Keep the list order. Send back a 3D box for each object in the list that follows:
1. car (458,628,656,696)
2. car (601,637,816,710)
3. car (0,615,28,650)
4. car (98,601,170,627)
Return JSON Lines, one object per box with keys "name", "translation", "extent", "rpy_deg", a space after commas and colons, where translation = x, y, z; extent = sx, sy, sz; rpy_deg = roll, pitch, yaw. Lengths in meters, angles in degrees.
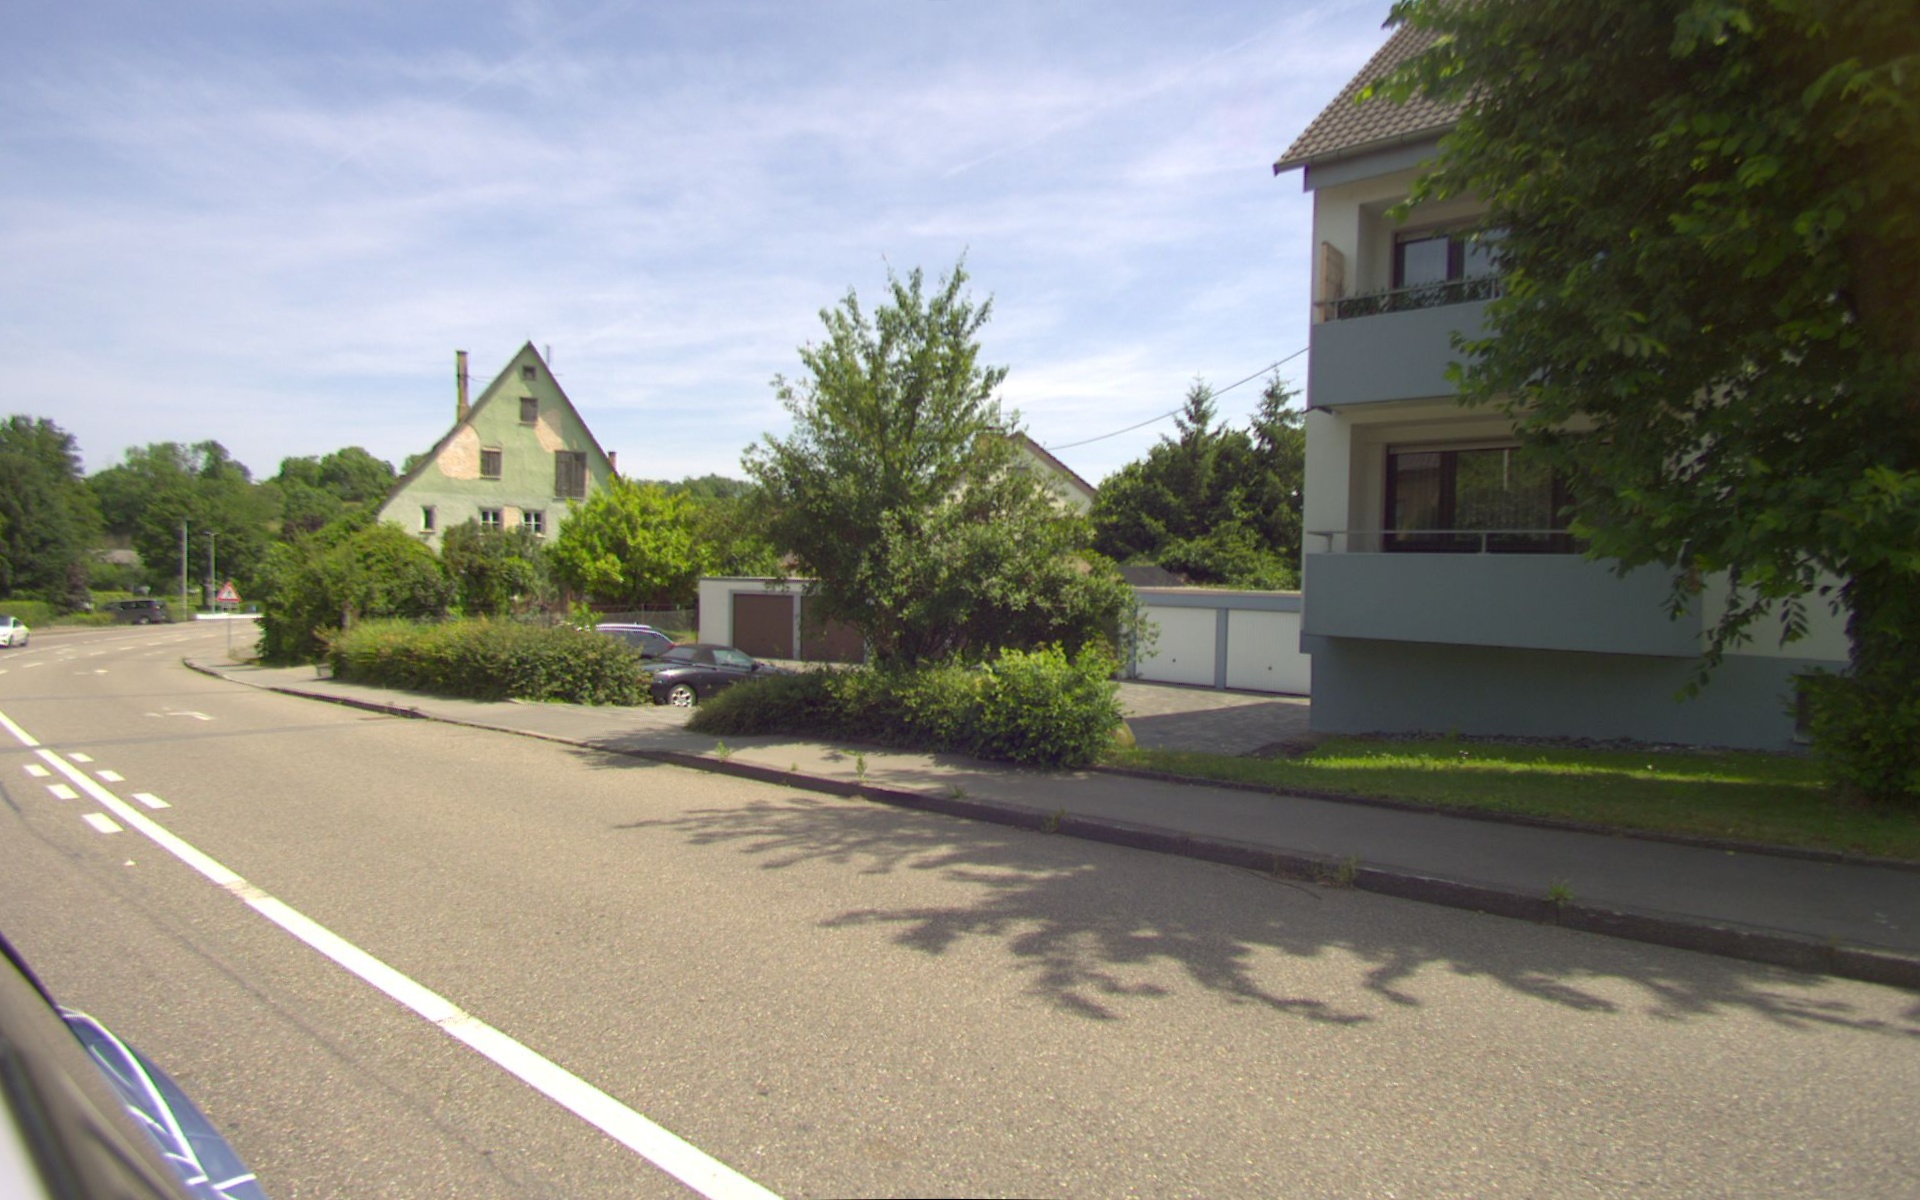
{"name": "car", "translation": [-9.537, 1.407, 24.172], "extent": [1.997, 1.397, 3.949], "rpy_deg": [-1, -1, 38]}
{"name": "car", "translation": [-4.948, 1.514, 20.308], "extent": [1.645, 1.256, 3.916], "rpy_deg": [-1, -6, 40]}
{"name": "car", "translation": [-44.560, 1.476, 46.375], "extent": [1.796, 1.564, 4.012], "rpy_deg": [1, -1, -29]}
{"name": "car", "translation": [-63.340, 1.057, 77.689], "extent": [3.844, 1.964, 1.961], "rpy_deg": [0, -1, -17]}
